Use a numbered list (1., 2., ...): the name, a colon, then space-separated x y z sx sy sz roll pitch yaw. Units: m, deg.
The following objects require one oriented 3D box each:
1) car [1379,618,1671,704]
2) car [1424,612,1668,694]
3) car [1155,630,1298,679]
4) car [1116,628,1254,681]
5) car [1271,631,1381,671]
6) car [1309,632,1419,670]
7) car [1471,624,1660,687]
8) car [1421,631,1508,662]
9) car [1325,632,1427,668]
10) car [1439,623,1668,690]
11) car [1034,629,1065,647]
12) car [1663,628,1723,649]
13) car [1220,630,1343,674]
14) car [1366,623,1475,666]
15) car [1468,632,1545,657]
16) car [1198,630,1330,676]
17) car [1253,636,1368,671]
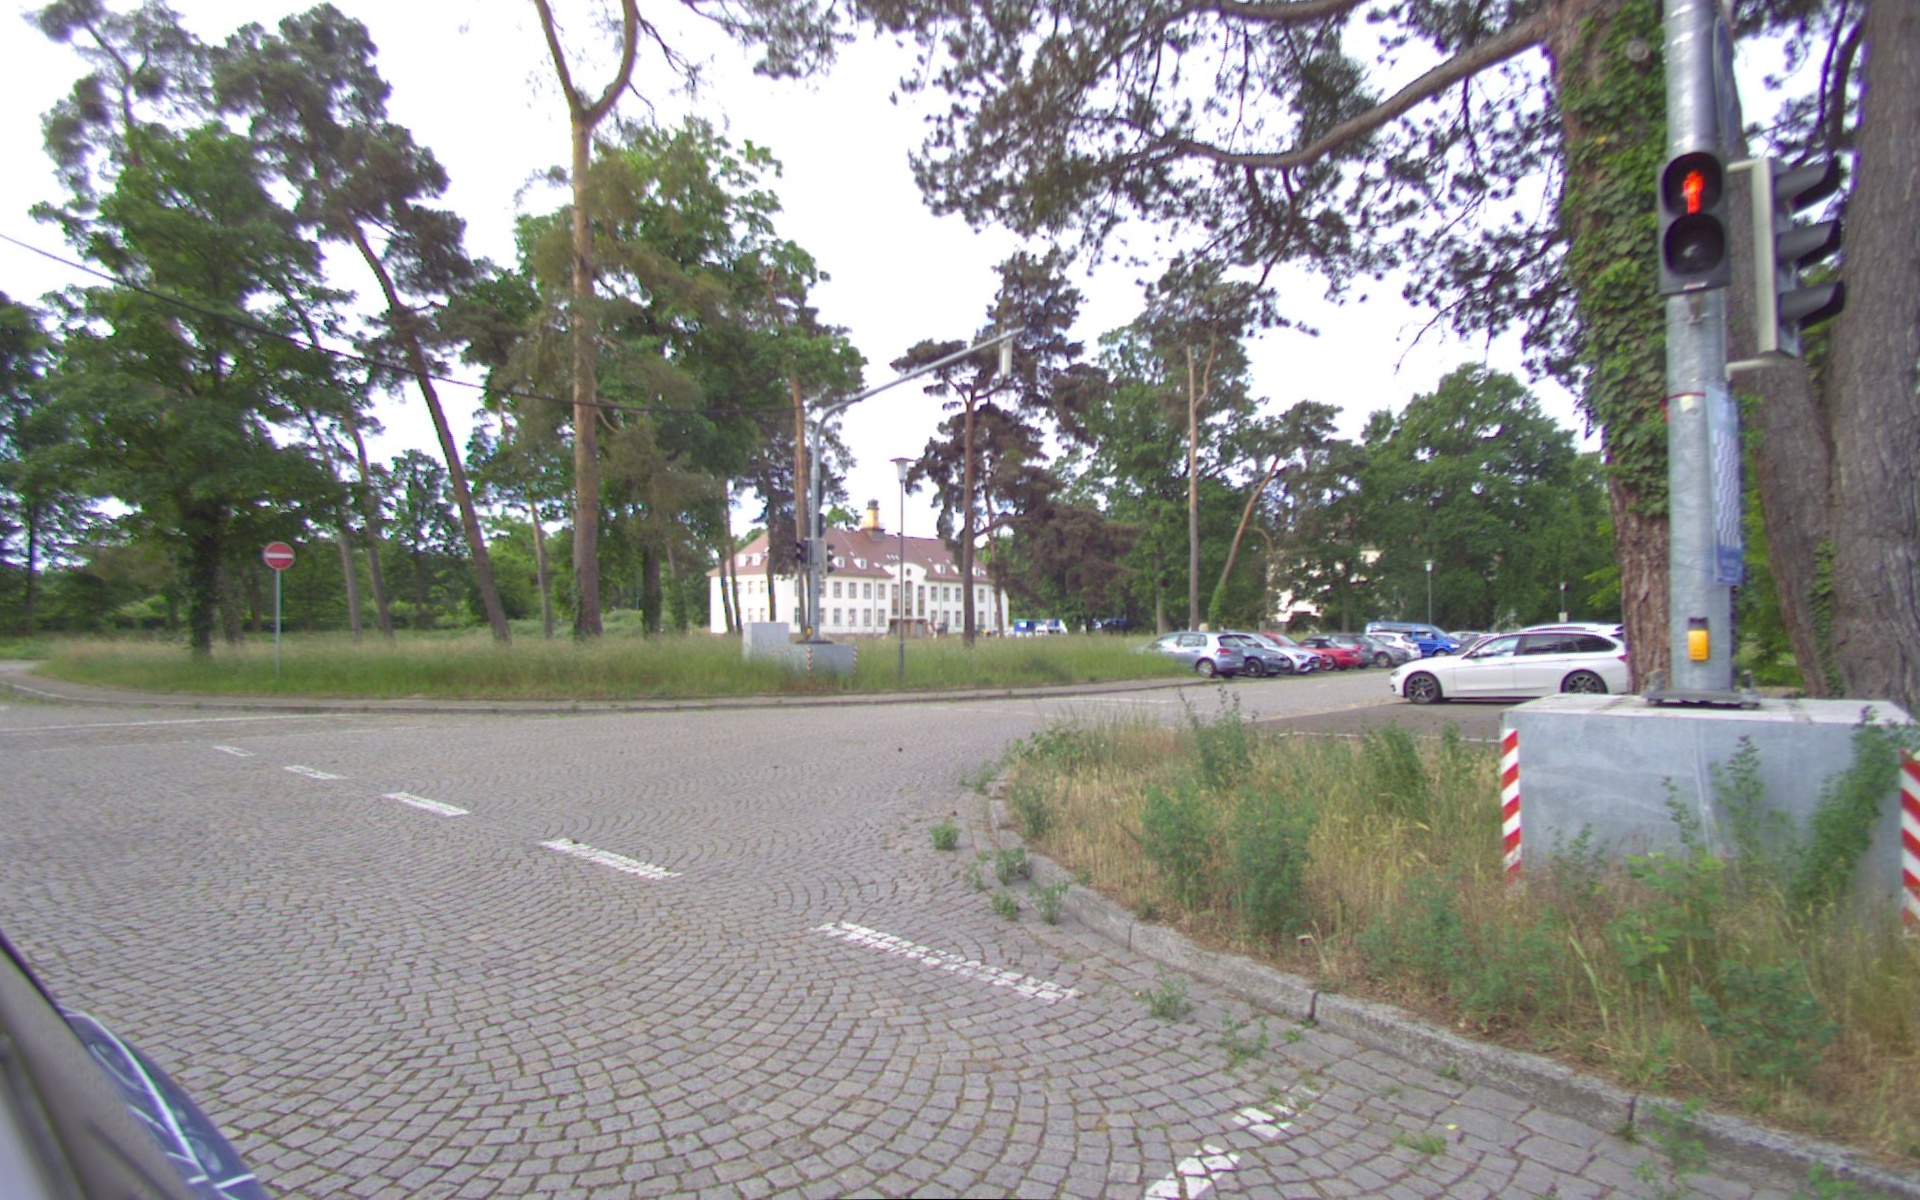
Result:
1. car: 11.068 1.232 20.052 4.750 1.499 1.842 -4 -5 40
2. car: 12.672 1.187 21.998 4.368 1.610 1.850 -4 -4 36
3. car: 9.050 1.824 34.545 4.440 1.394 1.641 2 0 41
4. car: 7.220 1.718 32.710 4.012 1.439 1.675 2 0 41
5. car: 15.272 2.100 42.312 4.055 1.528 1.577 -1 -2 45
6. car: 17.531 2.175 44.023 4.103 1.528 1.675 -1 -2 45
7. car: 15.691 1.465 26.330 3.958 1.481 1.564 -5 -4 39
8. car: 28.430 2.601 57.079 4.089 1.605 1.630 -1 -2 45
9. car: 19.069 2.259 46.517 4.055 1.528 1.577 -1 -2 45
10. car: 14.101 1.386 24.213 4.445 1.435 1.699 -5 -4 40
11. car: 12.022 5.054 135.113 1.863 2.382 4.386 -3 -3 42
12. car: 79.278 4.133 109.483 5.146 2.165 1.751 0 -2 39
13. car: 12.218 1.945 38.622 4.187 1.493 1.693 0 -2 43
14. car: 22.851 2.162 50.302 4.607 2.021 1.884 0 -1 44
15. car: 34.997 2.833 64.853 4.088 1.455 1.701 0 -2 44
16. car: 10.910 1.873 36.512 4.252 1.485 1.692 0 -2 44
17. car: 13.832 2.072 40.065 4.053 1.250 1.528 0 -2 43
